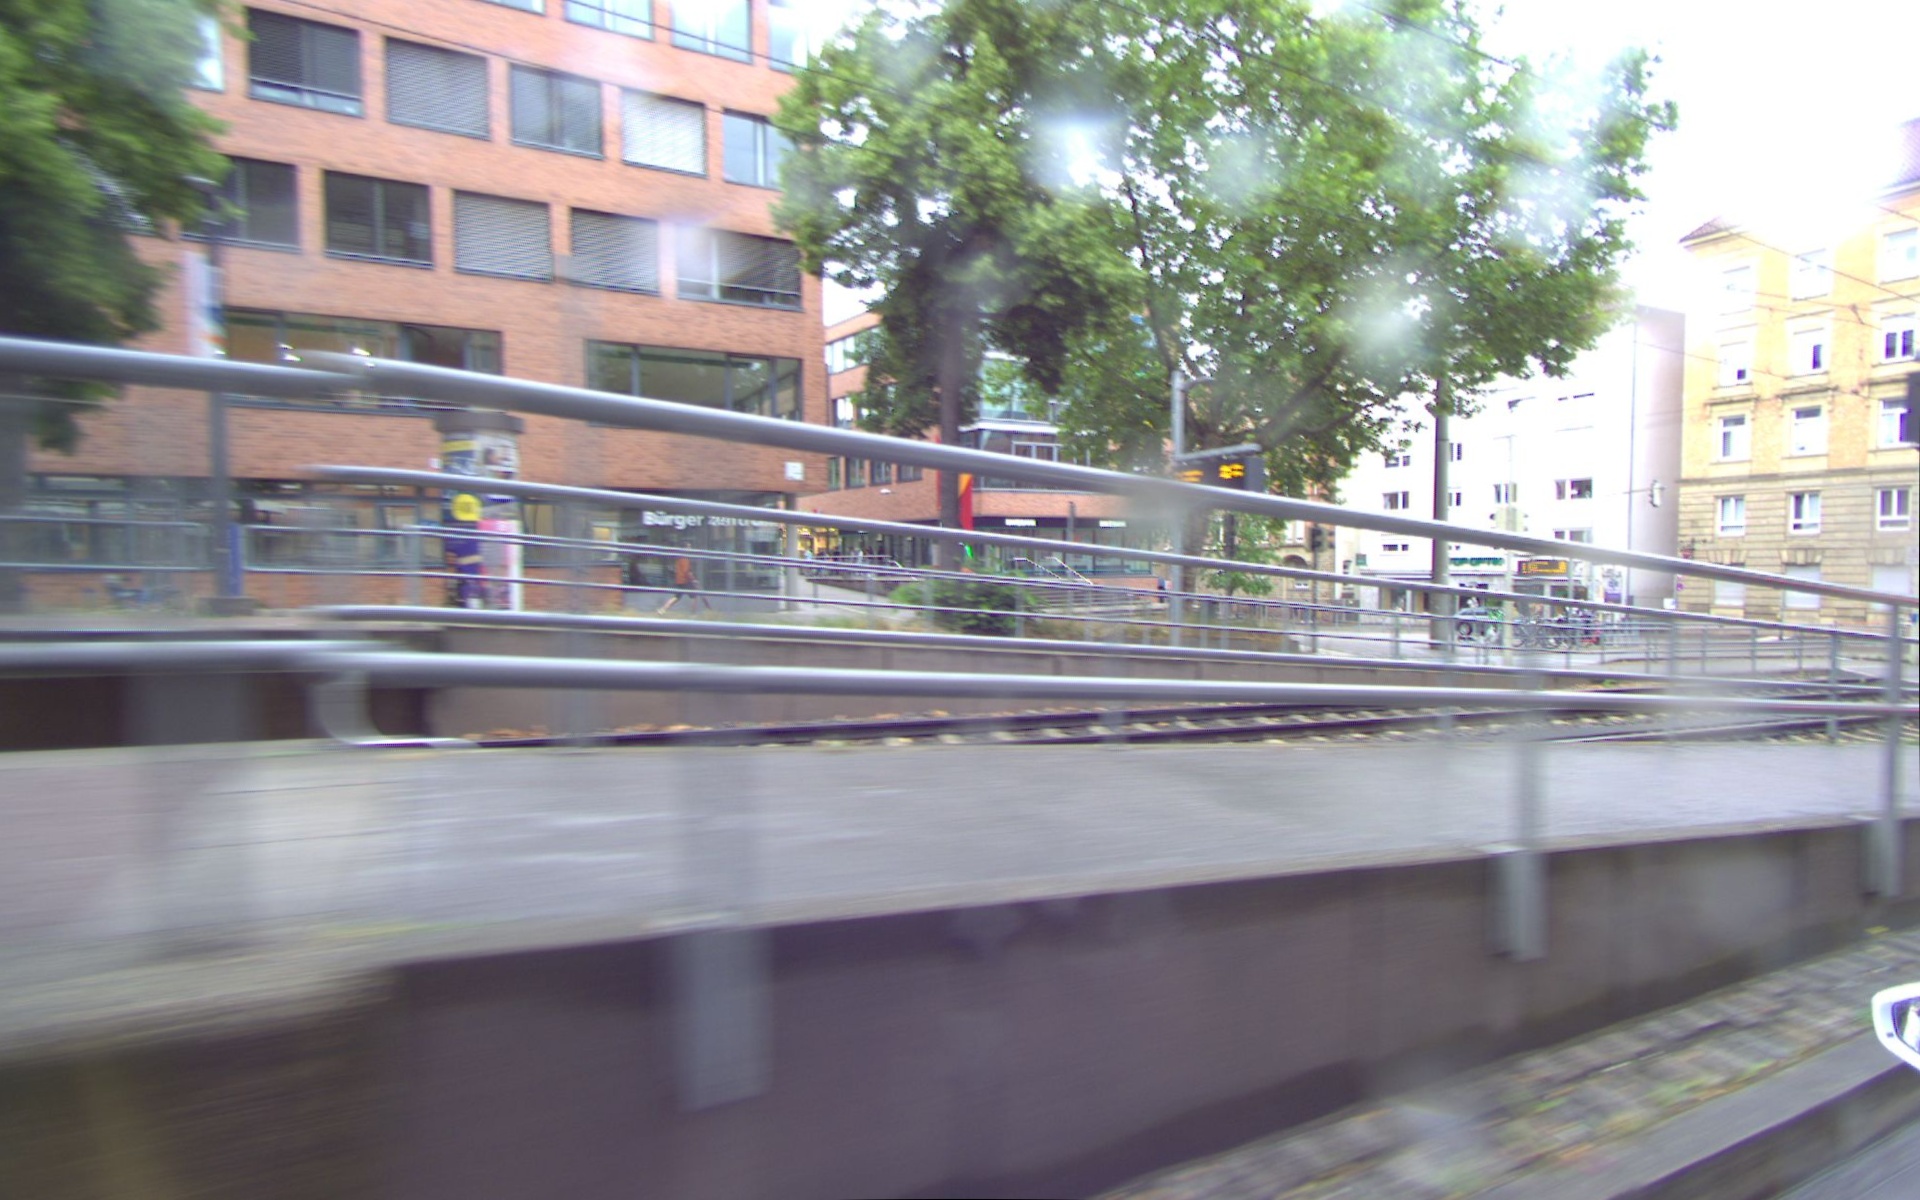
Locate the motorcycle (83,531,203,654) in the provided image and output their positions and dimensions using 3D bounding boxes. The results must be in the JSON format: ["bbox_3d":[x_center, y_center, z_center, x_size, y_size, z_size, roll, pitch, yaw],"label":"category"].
[{"bbox_3d":[-13.440,-0.137,16.644,0.981,1.840,3.023,1,1,-29],"label":"motorcycle"}]

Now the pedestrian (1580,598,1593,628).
[{"bbox_3d":[34.989,0.721,56.093,0.508,1.643,0.486,2,1,23],"label":"pedestrian"}]

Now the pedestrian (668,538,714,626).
[{"bbox_3d":[-6.467,-0.426,24.120,0.966,2.041,0.731,1,1,-22],"label":"pedestrian"}]

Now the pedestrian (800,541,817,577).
[{"bbox_3d":[-8.840,-2.393,58.493,0.709,2.040,0.714,1,0,-32],"label":"pedestrian"}]

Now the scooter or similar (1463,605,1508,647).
[{"bbox_3d":[15.518,0.757,29.662,1.089,1.211,0.362,1,1,12],"label":"scooter or similar"}]

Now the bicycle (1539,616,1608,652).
[{"bbox_3d":[20.183,1.104,33.070,0.513,1.079,1.856,1,1,-38],"label":"bicycle"}]

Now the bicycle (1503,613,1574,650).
[{"bbox_3d":[18.005,0.972,31.308,0.513,1.076,1.856,1,1,-39],"label":"bicycle"}]

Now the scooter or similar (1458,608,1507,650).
[{"bbox_3d":[15.716,0.859,30.235,1.226,1.211,0.300,1,1,12],"label":"scooter or similar"}]

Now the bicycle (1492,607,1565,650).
[{"bbox_3d":[17.281,0.845,30.570,0.513,1.211,1.856,1,1,-38],"label":"bicycle"}]

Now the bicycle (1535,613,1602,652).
[{"bbox_3d":[19.646,1.041,32.447,0.513,1.158,1.753,1,1,-38],"label":"bicycle"}]

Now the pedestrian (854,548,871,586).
[{"bbox_3d":[-5.448,-1.841,56.210,0.709,2.040,0.714,1,0,-32],"label":"pedestrian"}]

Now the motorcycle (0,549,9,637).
[{"bbox_3d":[-16.150,-0.083,15.630,0.994,1.508,3.847,1,1,-29],"label":"motorcycle"}]

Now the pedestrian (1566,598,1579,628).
[{"bbox_3d":[34.544,0.736,56.629,0.508,1.643,0.486,2,1,23],"label":"pedestrian"}]

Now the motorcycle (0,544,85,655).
[{"bbox_3d":[-15.113,-0.053,16.097,0.994,1.649,3.045,1,1,-29],"label":"motorcycle"}]
